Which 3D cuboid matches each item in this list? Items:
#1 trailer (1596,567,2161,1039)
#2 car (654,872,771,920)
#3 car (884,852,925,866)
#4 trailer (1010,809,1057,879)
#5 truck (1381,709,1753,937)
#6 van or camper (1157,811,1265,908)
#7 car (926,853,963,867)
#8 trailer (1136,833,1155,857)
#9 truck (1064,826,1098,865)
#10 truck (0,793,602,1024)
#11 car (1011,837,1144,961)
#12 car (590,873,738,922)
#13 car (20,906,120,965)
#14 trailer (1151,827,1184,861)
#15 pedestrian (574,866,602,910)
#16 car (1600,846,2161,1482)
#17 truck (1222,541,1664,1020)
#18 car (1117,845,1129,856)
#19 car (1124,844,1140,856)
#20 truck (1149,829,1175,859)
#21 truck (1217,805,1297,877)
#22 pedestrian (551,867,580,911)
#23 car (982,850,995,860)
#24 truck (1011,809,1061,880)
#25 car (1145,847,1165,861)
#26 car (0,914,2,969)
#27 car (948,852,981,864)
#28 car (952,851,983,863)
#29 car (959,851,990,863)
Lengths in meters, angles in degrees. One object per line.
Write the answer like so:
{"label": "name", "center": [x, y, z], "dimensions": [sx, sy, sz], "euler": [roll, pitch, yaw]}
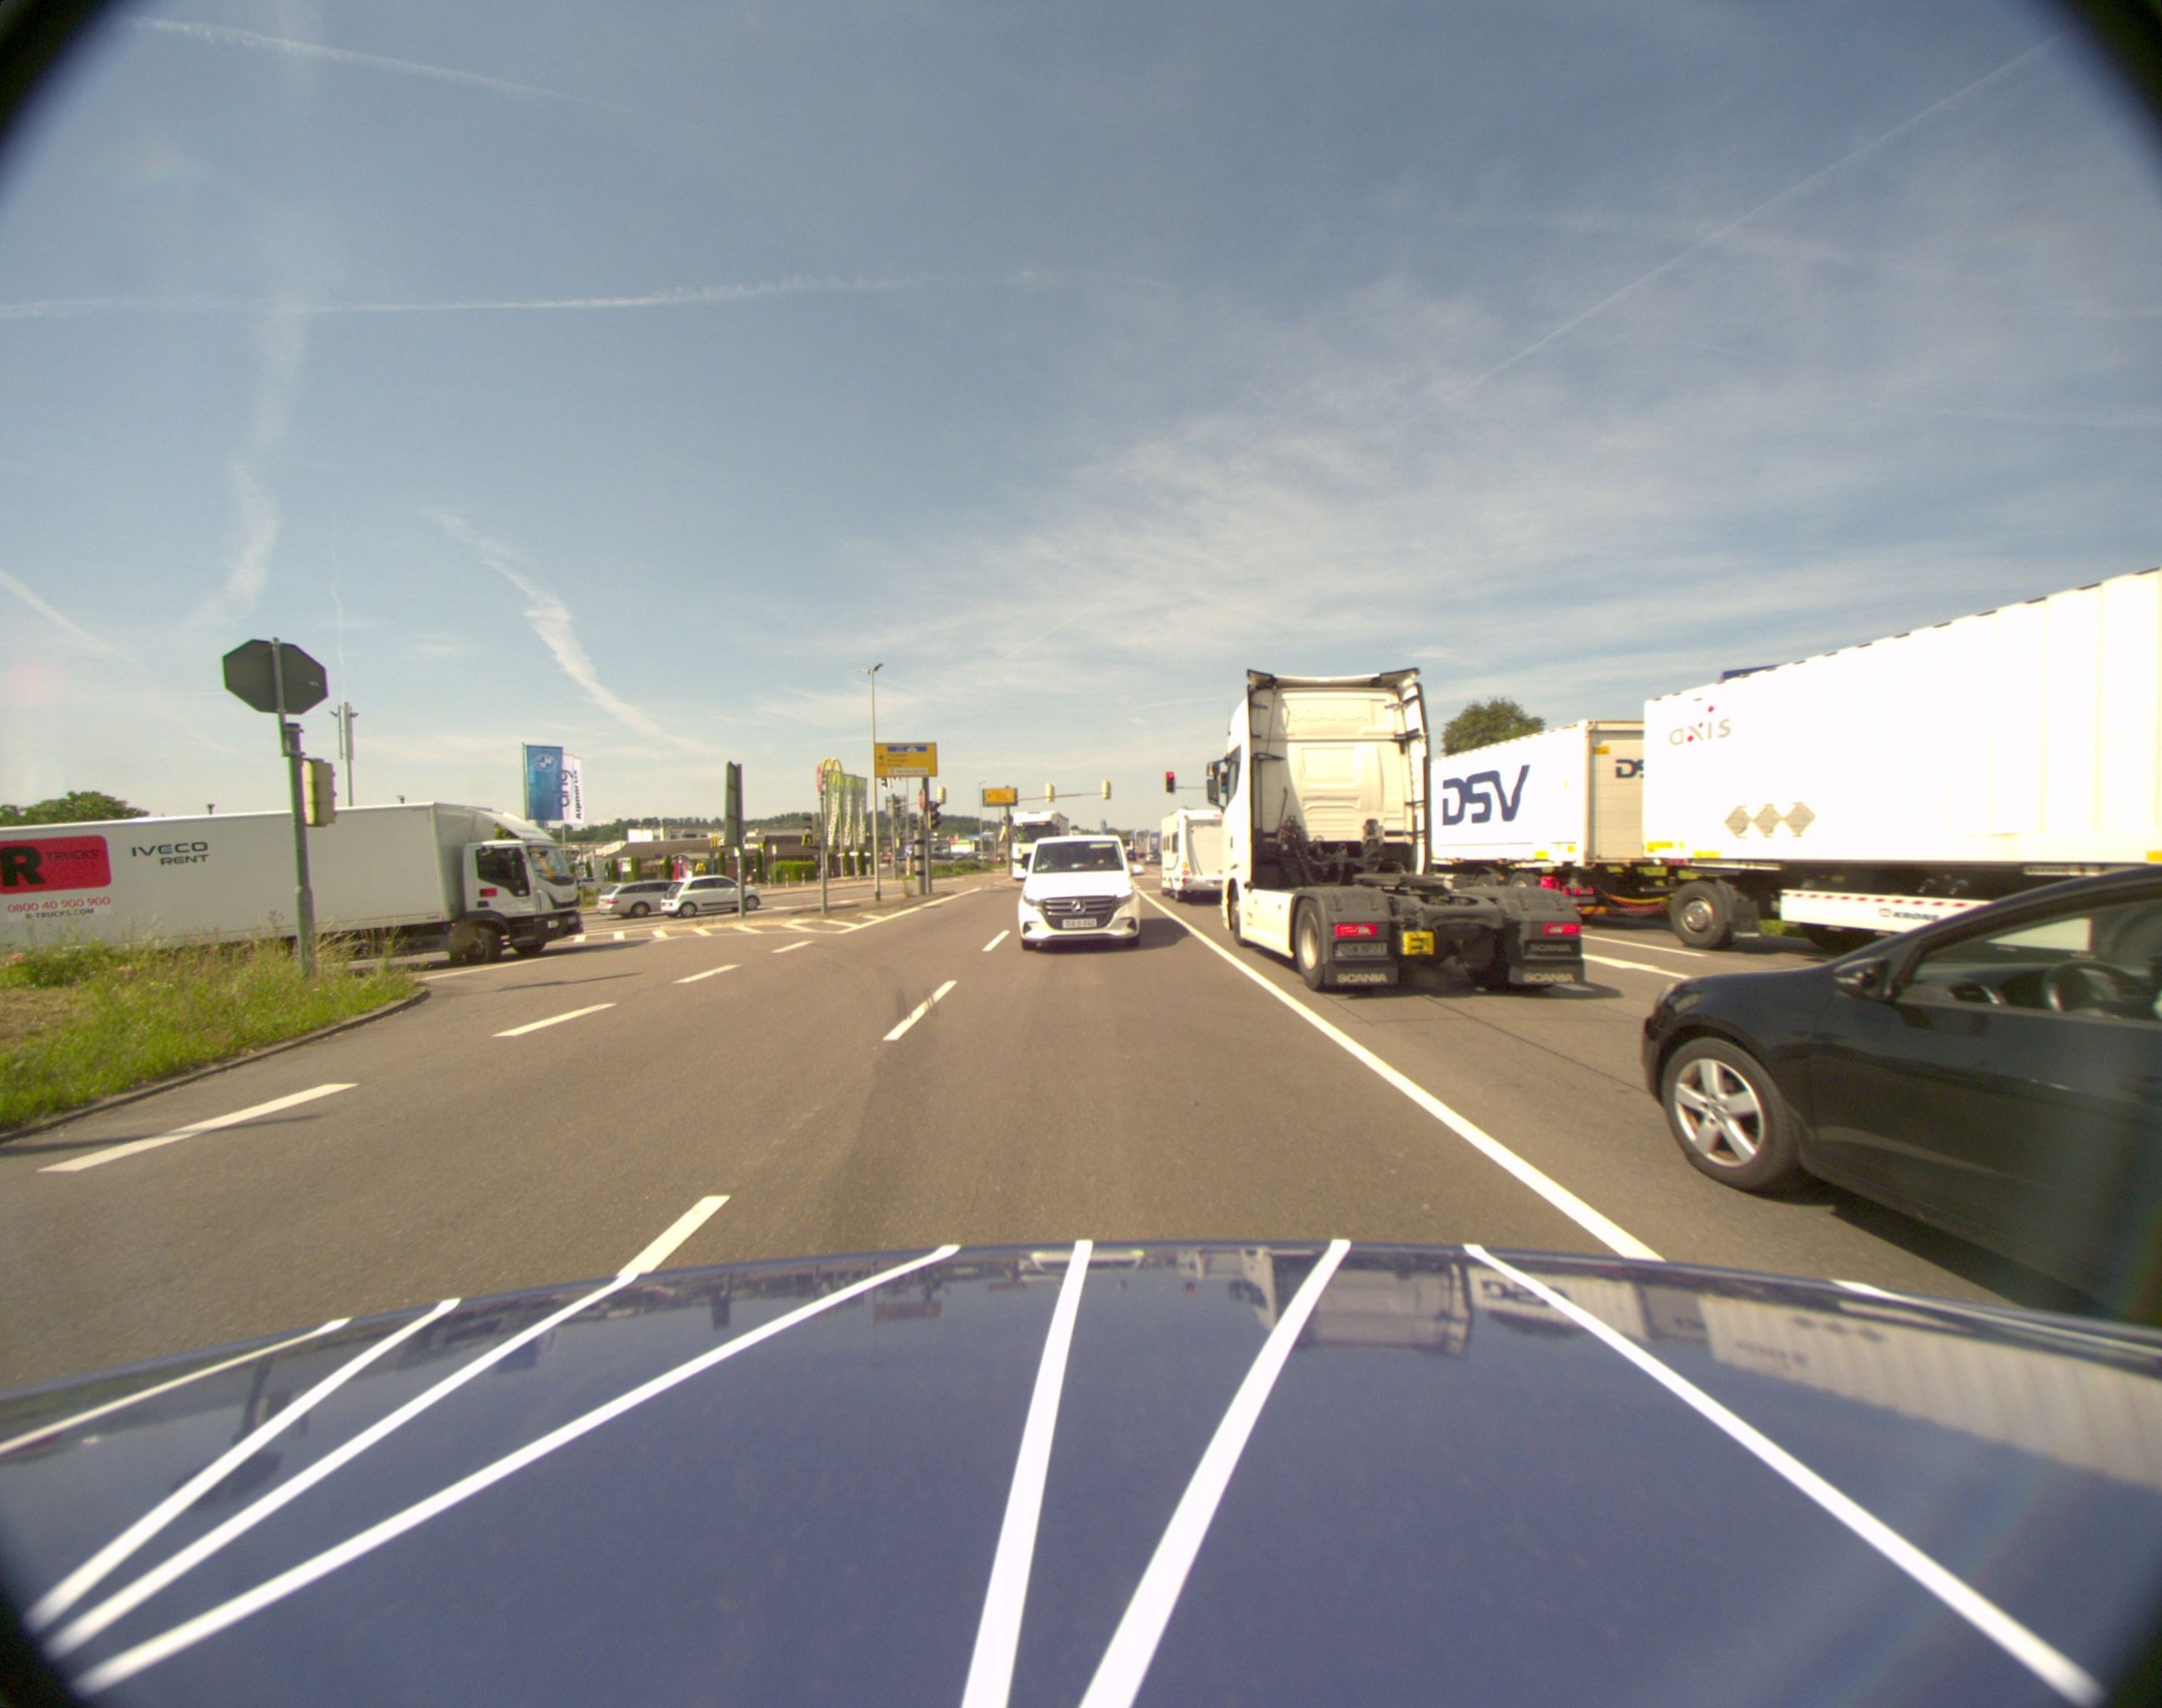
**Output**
{"label": "trailer", "center": [10.682, -0.478, 9.253], "dimensions": [2.847, 4.046, 8.754], "euler": [0, 1, 0]}
{"label": "car", "center": [-14.701, 1.626, 30.432], "dimensions": [1.706, 1.496, 3.762], "euler": [-2, 2, 41]}
{"label": "car", "center": [-22.026, 0.595, 95.143], "dimensions": [1.907, 1.661, 4.828], "euler": [1, 1, 38]}
{"label": "trailer", "center": [-3.362, -0.682, 51.155], "dimensions": [2.615, 4.203, 11.283], "euler": [0, 1, -6]}
{"label": "truck", "center": [10.650, -0.616, 18.531], "dimensions": [2.837, 4.092, 9.680], "euler": [0, 1, 0]}
{"label": "van or camper", "center": [3.814, 0.111, 23.743], "dimensions": [2.336, 2.585, 6.978], "euler": [0, 1, 1]}
{"label": "car", "center": [-16.364, 0.740, 91.111], "dimensions": [1.855, 1.567, 4.242], "euler": [1, 1, 38]}
{"label": "trailer", "center": [12.063, -1.697, 142.733], "dimensions": [2.698, 4.124, 13.879], "euler": [0, 1, 2]}
{"label": "truck", "center": [0.110, -0.903, 81.486], "dimensions": [2.646, 3.964, 9.242], "euler": [0, 1, 6]}
{"label": "truck", "center": [-16.542, 0.946, 16.490], "dimensions": [9.705, 3.608, 2.763], "euler": [-6, 2, -15]}
{"label": "car", "center": [0.076, 0.643, 14.316], "dimensions": [1.993, 1.858, 5.803], "euler": [0, 1, 3]}
{"label": "car", "center": [-17.519, 1.779, 32.106], "dimensions": [1.994, 1.497, 5.008], "euler": [-2, 2, 42]}
{"label": "car", "center": [-36.219, 2.849, 27.261], "dimensions": [4.466, 1.609, 2.004], "euler": [0, 1, 37]}
{"label": "trailer", "center": [10.925, -1.288, 97.328], "dimensions": [3.100, 4.056, 14.126], "euler": [0, 1, 2]}
{"label": "pedestrian", "center": [-23.607, 1.614, 36.411], "dimensions": [0.663, 2.002, 0.880], "euler": [-1, 2, 38]}
{"label": "car", "center": [3.490, 0.759, 1.811], "dimensions": [1.715, 1.542, 4.108], "euler": [0, 1, 1]}
{"label": "truck", "center": [3.654, -0.656, 9.600], "dimensions": [2.543, 4.064, 6.264], "euler": [0, 1, -1]}
{"label": "car", "center": [7.050, -0.541, 127.634], "dimensions": [1.847, 1.722, 4.588], "euler": [-2, 0, 0]}
{"label": "car", "center": [7.054, -0.566, 106.041], "dimensions": [1.998, 1.716, 4.000], "euler": [0, 1, 1]}
{"label": "truck", "center": [11.139, -1.389, 104.945], "dimensions": [3.195, 4.056, 6.345], "euler": [0, 1, 2]}
{"label": "truck", "center": [10.622, -0.792, 47.021], "dimensions": [2.736, 3.976, 9.618], "euler": [0, 1, 0]}
{"label": "pedestrian", "center": [-24.209, 1.626, 35.665], "dimensions": [0.663, 2.002, 0.880], "euler": [-1, 2, 38]}
{"label": "car", "center": [-16.580, 0.133, 136.340], "dimensions": [1.907, 1.645, 4.709], "euler": [0, 1, -1]}
{"label": "truck", "center": [-2.768, -0.568, 45.510], "dimensions": [2.649, 3.964, 6.037], "euler": [0, 1, -6]}
{"label": "car", "center": [7.944, -0.019, 81.543], "dimensions": [1.729, 1.493, 3.999], "euler": [1, 1, 0]}
{"label": "car", "center": [-37.745, 2.972, 25.264], "dimensions": [4.461, 1.609, 2.096], "euler": [0, 1, 35]}
{"label": "car", "center": [-15.444, 0.491, 100.960], "dimensions": [1.744, 1.483, 4.273], "euler": [1, 1, 38]}
{"label": "car", "center": [-16.215, 0.461, 108.684], "dimensions": [4.007, 1.661, 1.916], "euler": [-1, 1, -34]}
{"label": "car", "center": [-14.928, 0.402, 106.671], "dimensions": [4.031, 1.661, 1.772], "euler": [-1, 1, -28]}
